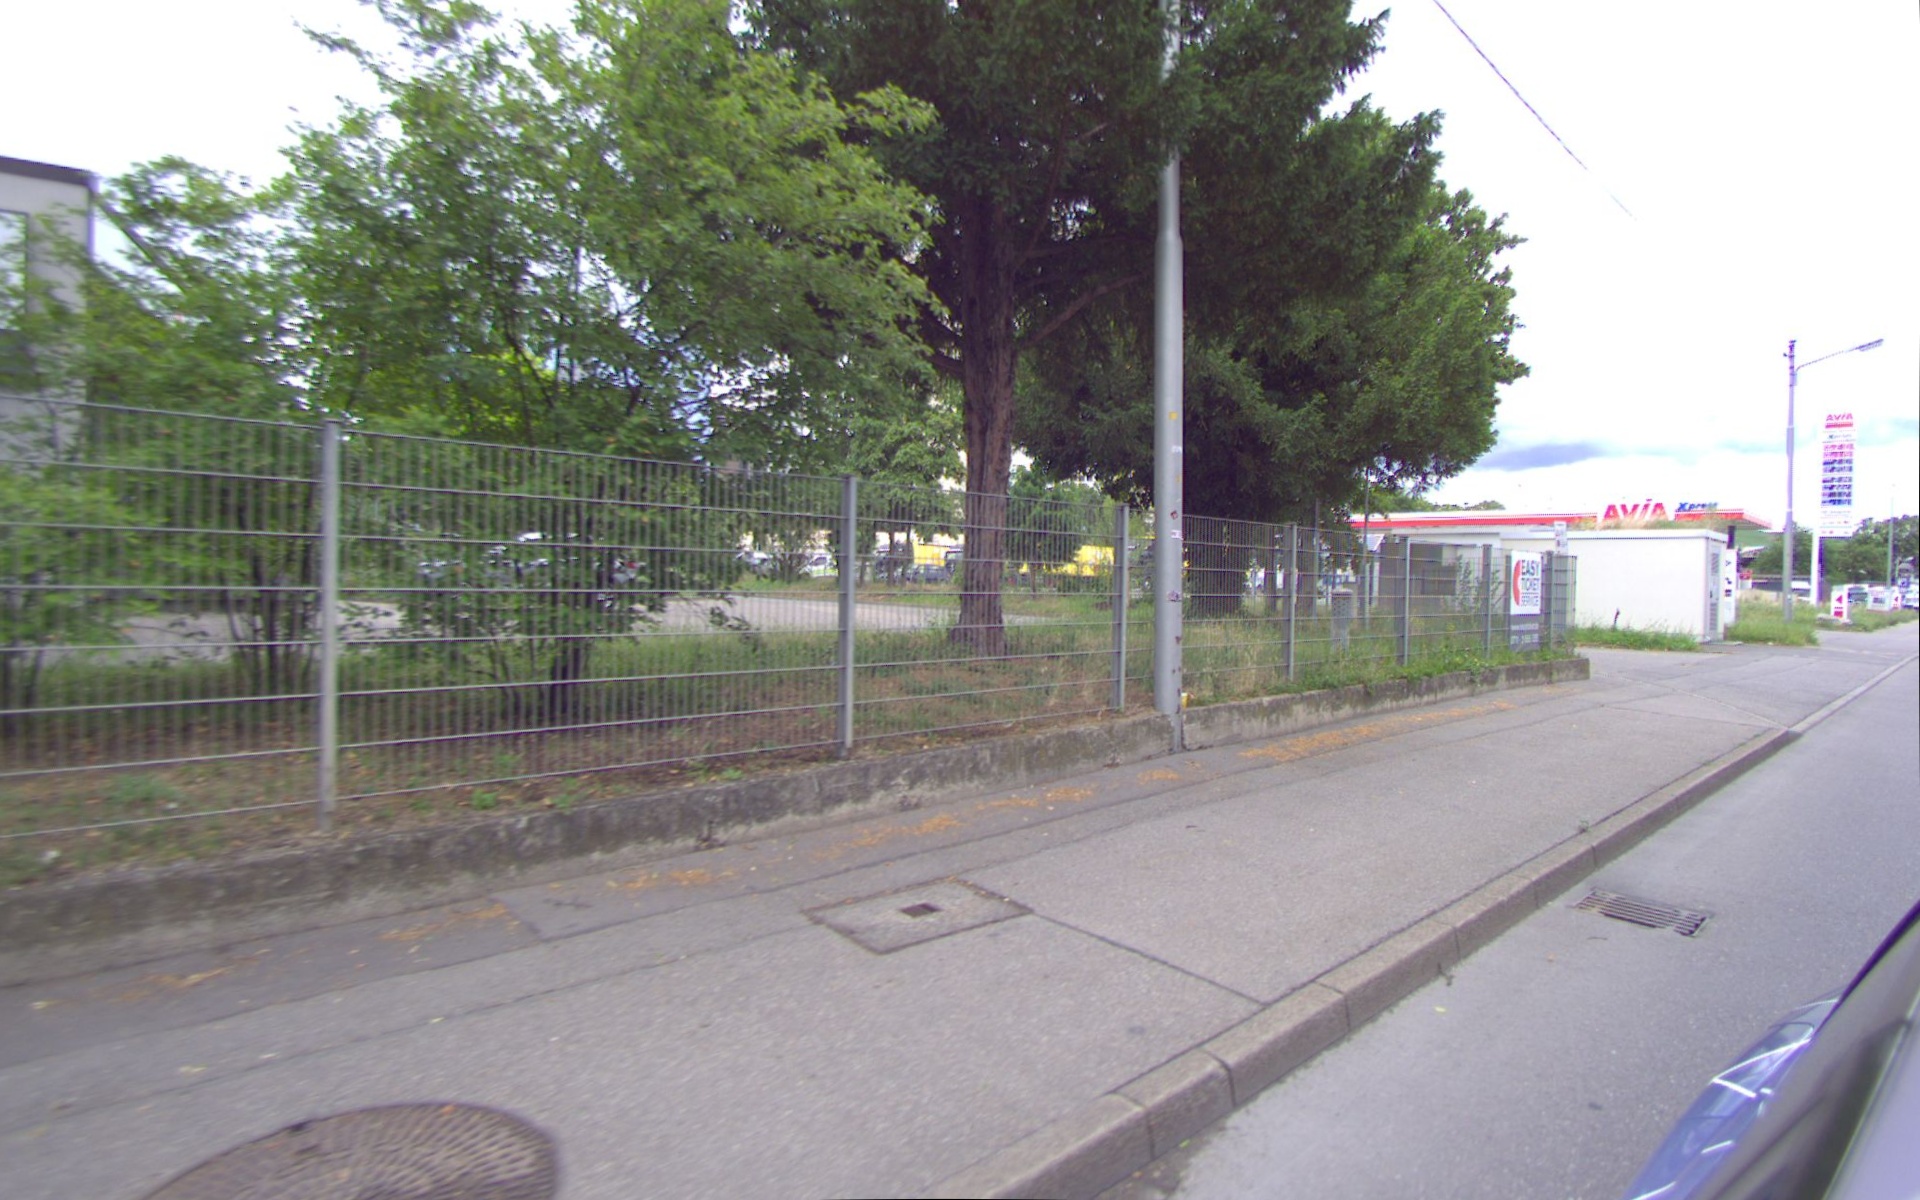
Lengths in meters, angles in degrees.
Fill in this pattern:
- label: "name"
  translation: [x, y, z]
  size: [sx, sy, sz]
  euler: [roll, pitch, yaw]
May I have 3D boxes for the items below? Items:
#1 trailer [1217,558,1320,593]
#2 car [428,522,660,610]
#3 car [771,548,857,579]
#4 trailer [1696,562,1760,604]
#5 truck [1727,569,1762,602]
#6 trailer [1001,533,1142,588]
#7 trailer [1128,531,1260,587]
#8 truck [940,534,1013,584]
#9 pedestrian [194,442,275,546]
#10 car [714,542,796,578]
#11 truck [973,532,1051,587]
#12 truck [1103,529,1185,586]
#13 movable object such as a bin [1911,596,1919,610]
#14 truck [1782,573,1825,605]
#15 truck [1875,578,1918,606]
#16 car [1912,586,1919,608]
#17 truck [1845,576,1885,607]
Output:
- label: "trailer"
  translation: [40.951, -3.334, 135.736]
  size: [3.566, 4.225, 18.543]
  euler: [1, 1, -16]
- label: "car"
  translation: [-8.839, -0.698, 21.558]
  size: [4.350, 1.632, 2.004]
  euler: [1, 2, -28]
- label: "car"
  translation: [-8.258, -2.057, 57.405]
  size: [4.577, 1.666, 1.964]
  euler: [0, 2, -44]
- label: "trailer"
  translation: [78.981, -1.656, 103.984]
  size: [10.222, 4.015, 2.964]
  euler: [0, 3, -41]
- label: "truck"
  translation: [103.471, -1.912, 133.514]
  size: [2.854, 4.145, 6.678]
  euler: [3, 2, 32]
- label: "trailer"
  translation: [10.014, -3.291, 88.035]
  size: [15.468, 4.313, 3.022]
  euler: [0, 2, -45]
- label: "trailer"
  translation: [18.583, -3.093, 79.330]
  size: [14.068, 3.963, 3.002]
  euler: [0, 2, -45]
- label: "truck"
  translation: [1.447, -3.408, 84.988]
  size: [5.942, 3.963, 2.692]
  euler: [0, 2, -45]
- label: "pedestrian"
  translation: [-12.884, -1.862, 17.998]
  size: [0.781, 1.774, 0.921]
  euler: [1, 1, -3]
- label: "car"
  translation: [-13.105, -2.517, 64.584]
  size: [4.800, 2.129, 2.106]
  euler: [1, 2, -22]
- label: "truck"
  translation: [4.245, -3.245, 82.310]
  size: [5.942, 4.315, 3.046]
  euler: [0, 2, -45]
- label: "truck"
  translation: [13.552, -3.070, 74.312]
  size: [5.942, 3.963, 2.959]
  euler: [0, 2, -45]
- label: "movable object such as a bin"
  translation: [77.861, 0.273, 82.284]
  size: [0.713, 1.095, 0.653]
  euler: [2, 1, 40]
- label: "truck"
  translation: [114.440, -1.454, 137.468]
  size: [2.847, 4.145, 6.694]
  euler: [3, 2, 27]
- label: "truck"
  translation: [129.767, -1.100, 140.324]
  size: [2.853, 3.675, 6.681]
  euler: [3, 2, 31]
- label: "car"
  translation: [111.288, -0.322, 116.461]
  size: [5.979, 2.445, 2.089]
  euler: [0, 1, -42]
- label: "truck"
  translation: [124.796, -1.180, 139.637]
  size: [2.853, 4.063, 6.681]
  euler: [3, 2, 31]
